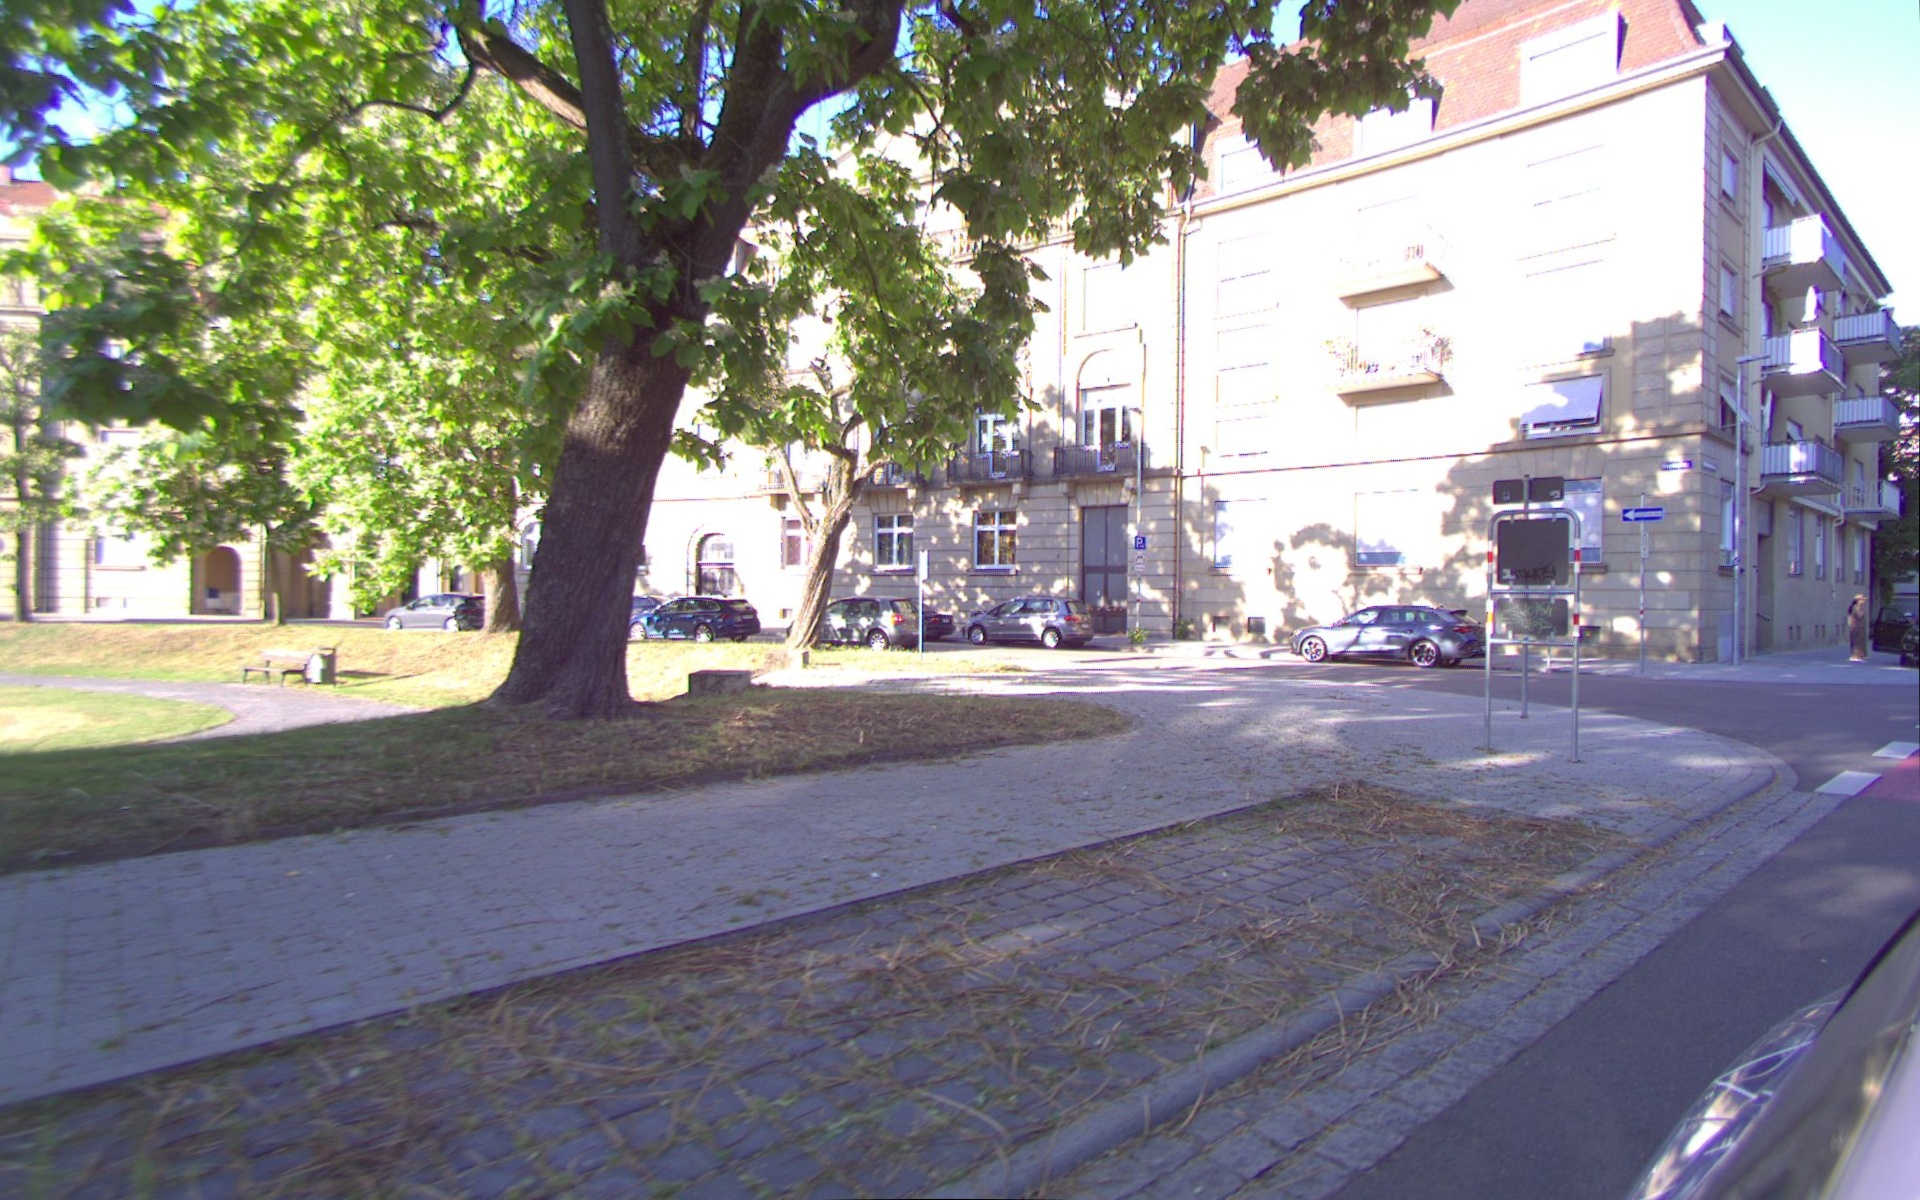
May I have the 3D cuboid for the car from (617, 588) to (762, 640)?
[{"bbox_3d":[-8.265,0.381,30.844,4.395,1.435,1.552,1,1,27],"label":"car"}]

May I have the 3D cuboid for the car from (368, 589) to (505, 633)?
[{"bbox_3d":[-18.135,0.349,35.089,4.317,1.435,1.808,1,1,20],"label":"car"}]

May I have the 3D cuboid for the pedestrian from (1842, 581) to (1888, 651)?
[{"bbox_3d":[24.316,0.428,27.190,0.721,1.854,0.554,0,-1,14],"label":"pedestrian"}]

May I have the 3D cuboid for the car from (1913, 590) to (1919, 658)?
[{"bbox_3d":[25.331,0.658,25.300,4.272,1.646,1.707,1,2,-41],"label":"car"}]

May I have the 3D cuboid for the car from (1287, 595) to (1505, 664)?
[{"bbox_3d":[10.406,0.643,24.374,4.441,1.436,1.905,1,1,45],"label":"car"}]

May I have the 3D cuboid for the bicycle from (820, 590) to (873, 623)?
[{"bbox_3d":[-4.496,0.240,40.156,2.102,1.245,0.609,1,1,26],"label":"bicycle"}]

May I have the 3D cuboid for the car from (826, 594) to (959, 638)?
[{"bbox_3d":[-2.332,0.506,34.394,4.412,1.341,1.491,1,1,28],"label":"car"}]

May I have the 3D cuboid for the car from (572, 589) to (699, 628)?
[{"bbox_3d":[-12.652,0.303,39.472,4.589,1.435,1.809,1,1,19],"label":"car"}]

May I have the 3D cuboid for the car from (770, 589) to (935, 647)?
[{"bbox_3d":[-2.998,0.446,27.949,4.330,1.435,1.826,1,1,30],"label":"car"}]

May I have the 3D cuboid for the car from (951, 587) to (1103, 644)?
[{"bbox_3d":[2.058,0.426,31.564,4.419,1.620,1.782,1,1,32],"label":"car"}]
